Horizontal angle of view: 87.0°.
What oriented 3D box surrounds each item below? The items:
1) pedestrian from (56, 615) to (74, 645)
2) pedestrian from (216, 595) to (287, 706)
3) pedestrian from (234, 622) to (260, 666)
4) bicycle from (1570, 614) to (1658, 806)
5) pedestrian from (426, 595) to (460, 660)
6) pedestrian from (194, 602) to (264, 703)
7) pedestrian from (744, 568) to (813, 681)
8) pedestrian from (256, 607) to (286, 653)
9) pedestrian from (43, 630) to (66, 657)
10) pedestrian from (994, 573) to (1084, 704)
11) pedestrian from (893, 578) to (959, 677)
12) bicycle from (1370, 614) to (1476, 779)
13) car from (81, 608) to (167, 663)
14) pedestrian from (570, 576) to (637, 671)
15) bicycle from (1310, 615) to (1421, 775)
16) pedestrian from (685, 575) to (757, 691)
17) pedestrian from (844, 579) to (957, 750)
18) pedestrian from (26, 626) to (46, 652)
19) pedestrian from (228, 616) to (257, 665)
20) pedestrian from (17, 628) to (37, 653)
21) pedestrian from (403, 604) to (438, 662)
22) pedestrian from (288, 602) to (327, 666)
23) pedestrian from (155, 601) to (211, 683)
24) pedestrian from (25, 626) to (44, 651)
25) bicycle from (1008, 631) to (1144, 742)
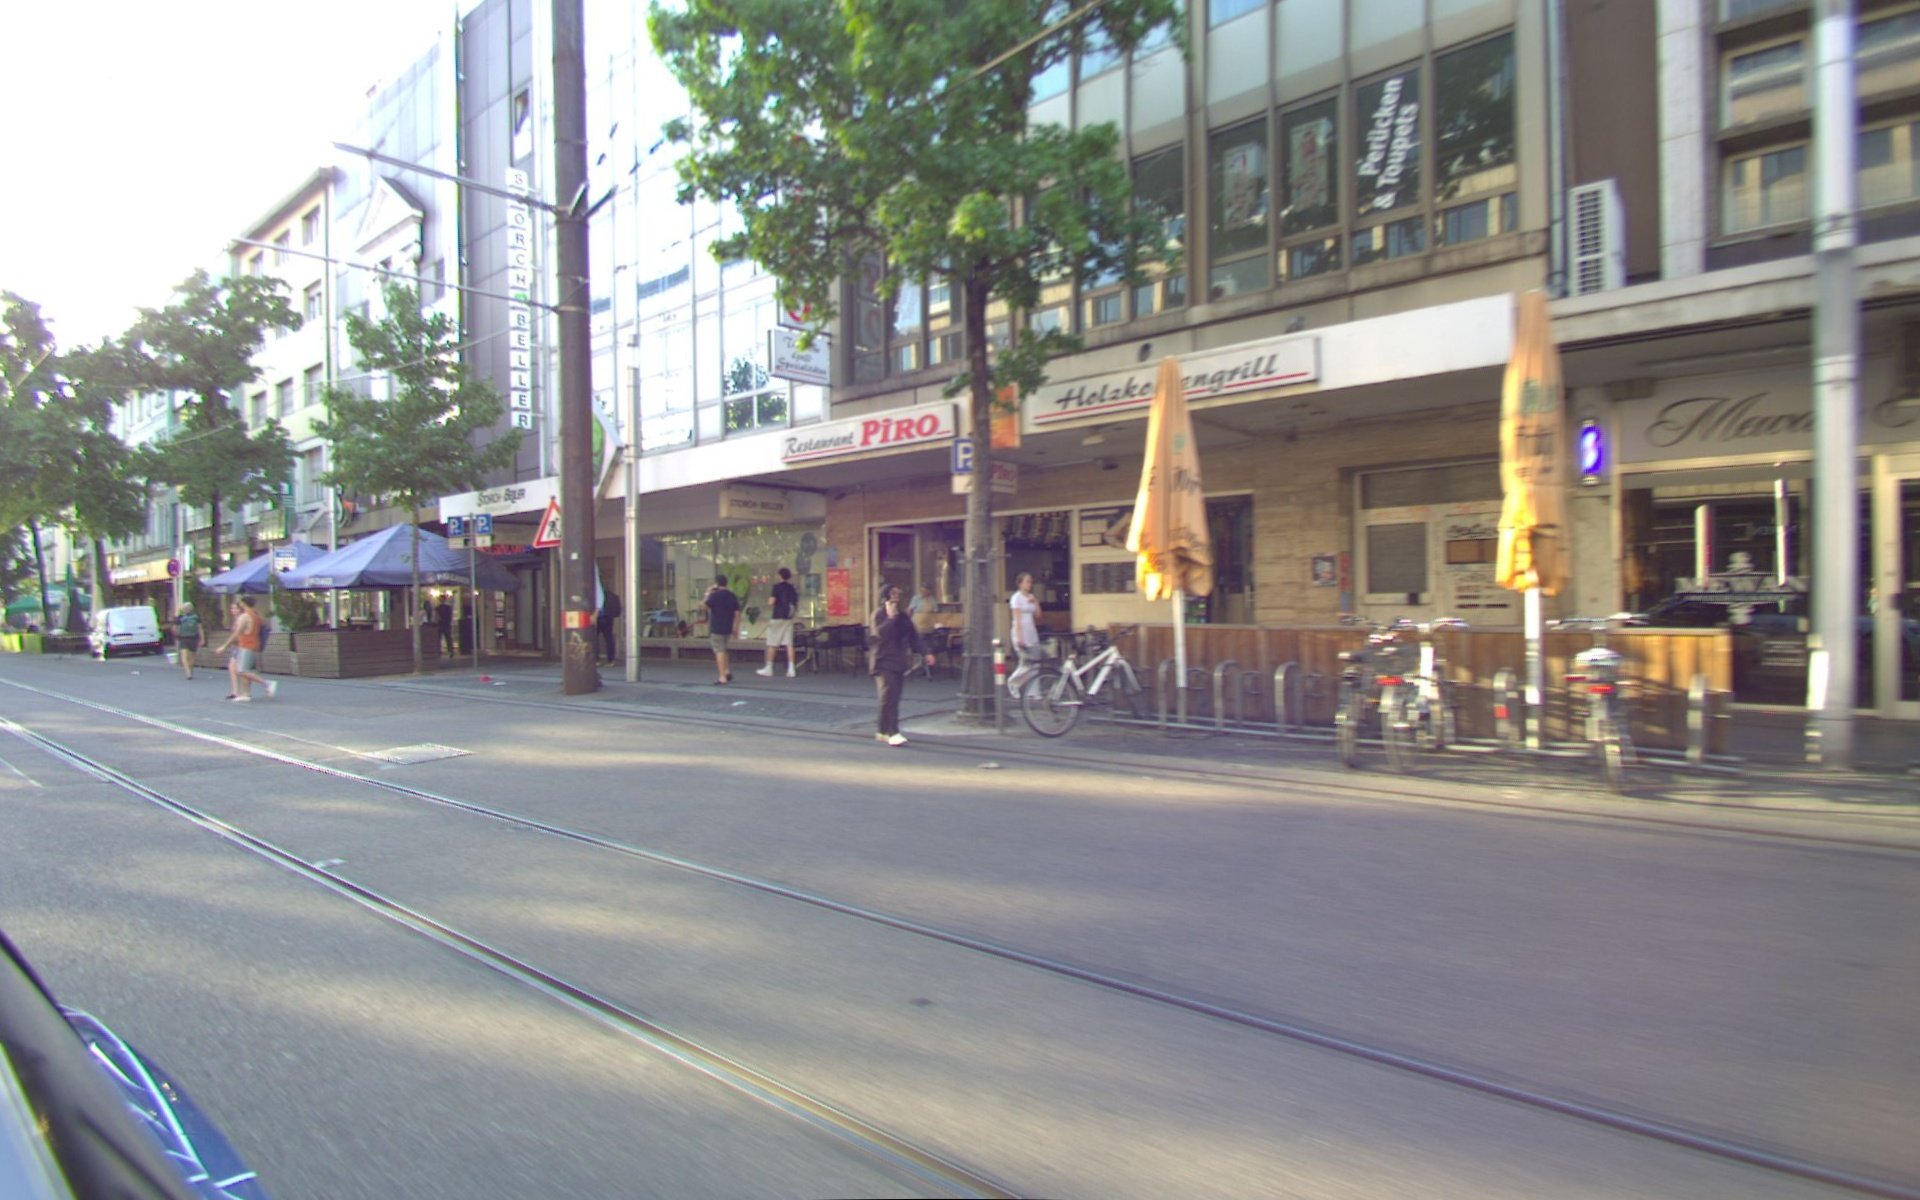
[{"bbox_3d":[-56.113,1.879,63.483,0.675,1.829,0.766,-3,1,-34],"label":"pedestrian"},{"bbox_3d":[-11.808,0.822,16.894,0.838,1.754,0.837,-3,1,-29],"label":"pedestrian"},{"bbox_3d":[-20.778,1.273,29.495,0.535,1.237,0.490,-2,0,40],"label":"pedestrian"},{"bbox_3d":[4.519,0.676,6.955,0.376,1.085,1.830,-2,1,36],"label":"bicycle"},{"bbox_3d":[-14.275,0.753,27.944,0.671,1.758,0.591,-2,1,41],"label":"pedestrian"},{"bbox_3d":[-12.549,0.879,17.409,0.837,1.650,0.764,-3,1,-29],"label":"pedestrian"},{"bbox_3d":[-3.055,0.403,17.009,0.933,1.817,0.616,-2,1,41],"label":"pedestrian"},{"bbox_3d":[-26.170,1.133,38.437,1.004,1.698,0.660,-2,1,40],"label":"pedestrian"},{"bbox_3d":[-42.035,2.003,46.975,0.797,1.202,0.650,-2,2,40],"label":"pedestrian"},{"bbox_3d":[0.965,0.454,12.411,0.833,1.520,0.616,-2,1,41],"label":"pedestrian"},{"bbox_3d":[-0.553,0.442,16.383,0.809,1.537,0.616,-2,1,41],"label":"pedestrian"},{"bbox_3d":[3.653,0.687,7.910,0.376,1.085,1.773,-2,1,36],"label":"bicycle"},{"bbox_3d":[-31.949,1.317,38.644,4.552,1.878,1.777,-2,2,42],"label":"car"},{"bbox_3d":[-7.564,0.494,21.460,1.070,1.937,0.793,-2,1,38],"label":"pedestrian"},{"bbox_3d":[3.294,0.704,8.140,0.376,1.085,1.773,-2,1,36],"label":"bicycle"},{"bbox_3d":[-3.805,0.513,16.113,0.933,1.760,0.616,-2,1,41],"label":"pedestrian"},{"bbox_3d":[-0.579,0.604,9.894,0.852,1.561,0.616,-2,1,41],"label":"pedestrian"},{"bbox_3d":[-50.804,2.154,55.652,0.781,1.357,0.700,-2,1,43],"label":"pedestrian"},{"bbox_3d":[-21.639,1.210,30.514,0.582,1.440,0.544,-2,0,40],"label":"pedestrian"},{"bbox_3d":[-47.394,2.053,51.412,0.696,1.254,0.613,-2,2,40],"label":"pedestrian"},{"bbox_3d":[-14.657,0.891,27.493,0.671,1.544,0.591,-2,1,41],"label":"pedestrian"},{"bbox_3d":[-18.273,0.954,28.341,0.675,1.737,0.710,-2,0,40],"label":"pedestrian"},{"bbox_3d":[-17.987,0.955,23.441,0.790,1.814,0.832,-2,1,42],"label":"pedestrian"},{"bbox_3d":[-51.445,2.145,56.250,0.806,1.321,0.682,-2,1,41],"label":"pedestrian"},{"bbox_3d":[1.175,0.817,10.022,1.576,0.937,0.377,-3,1,-43],"label":"bicycle"}]
